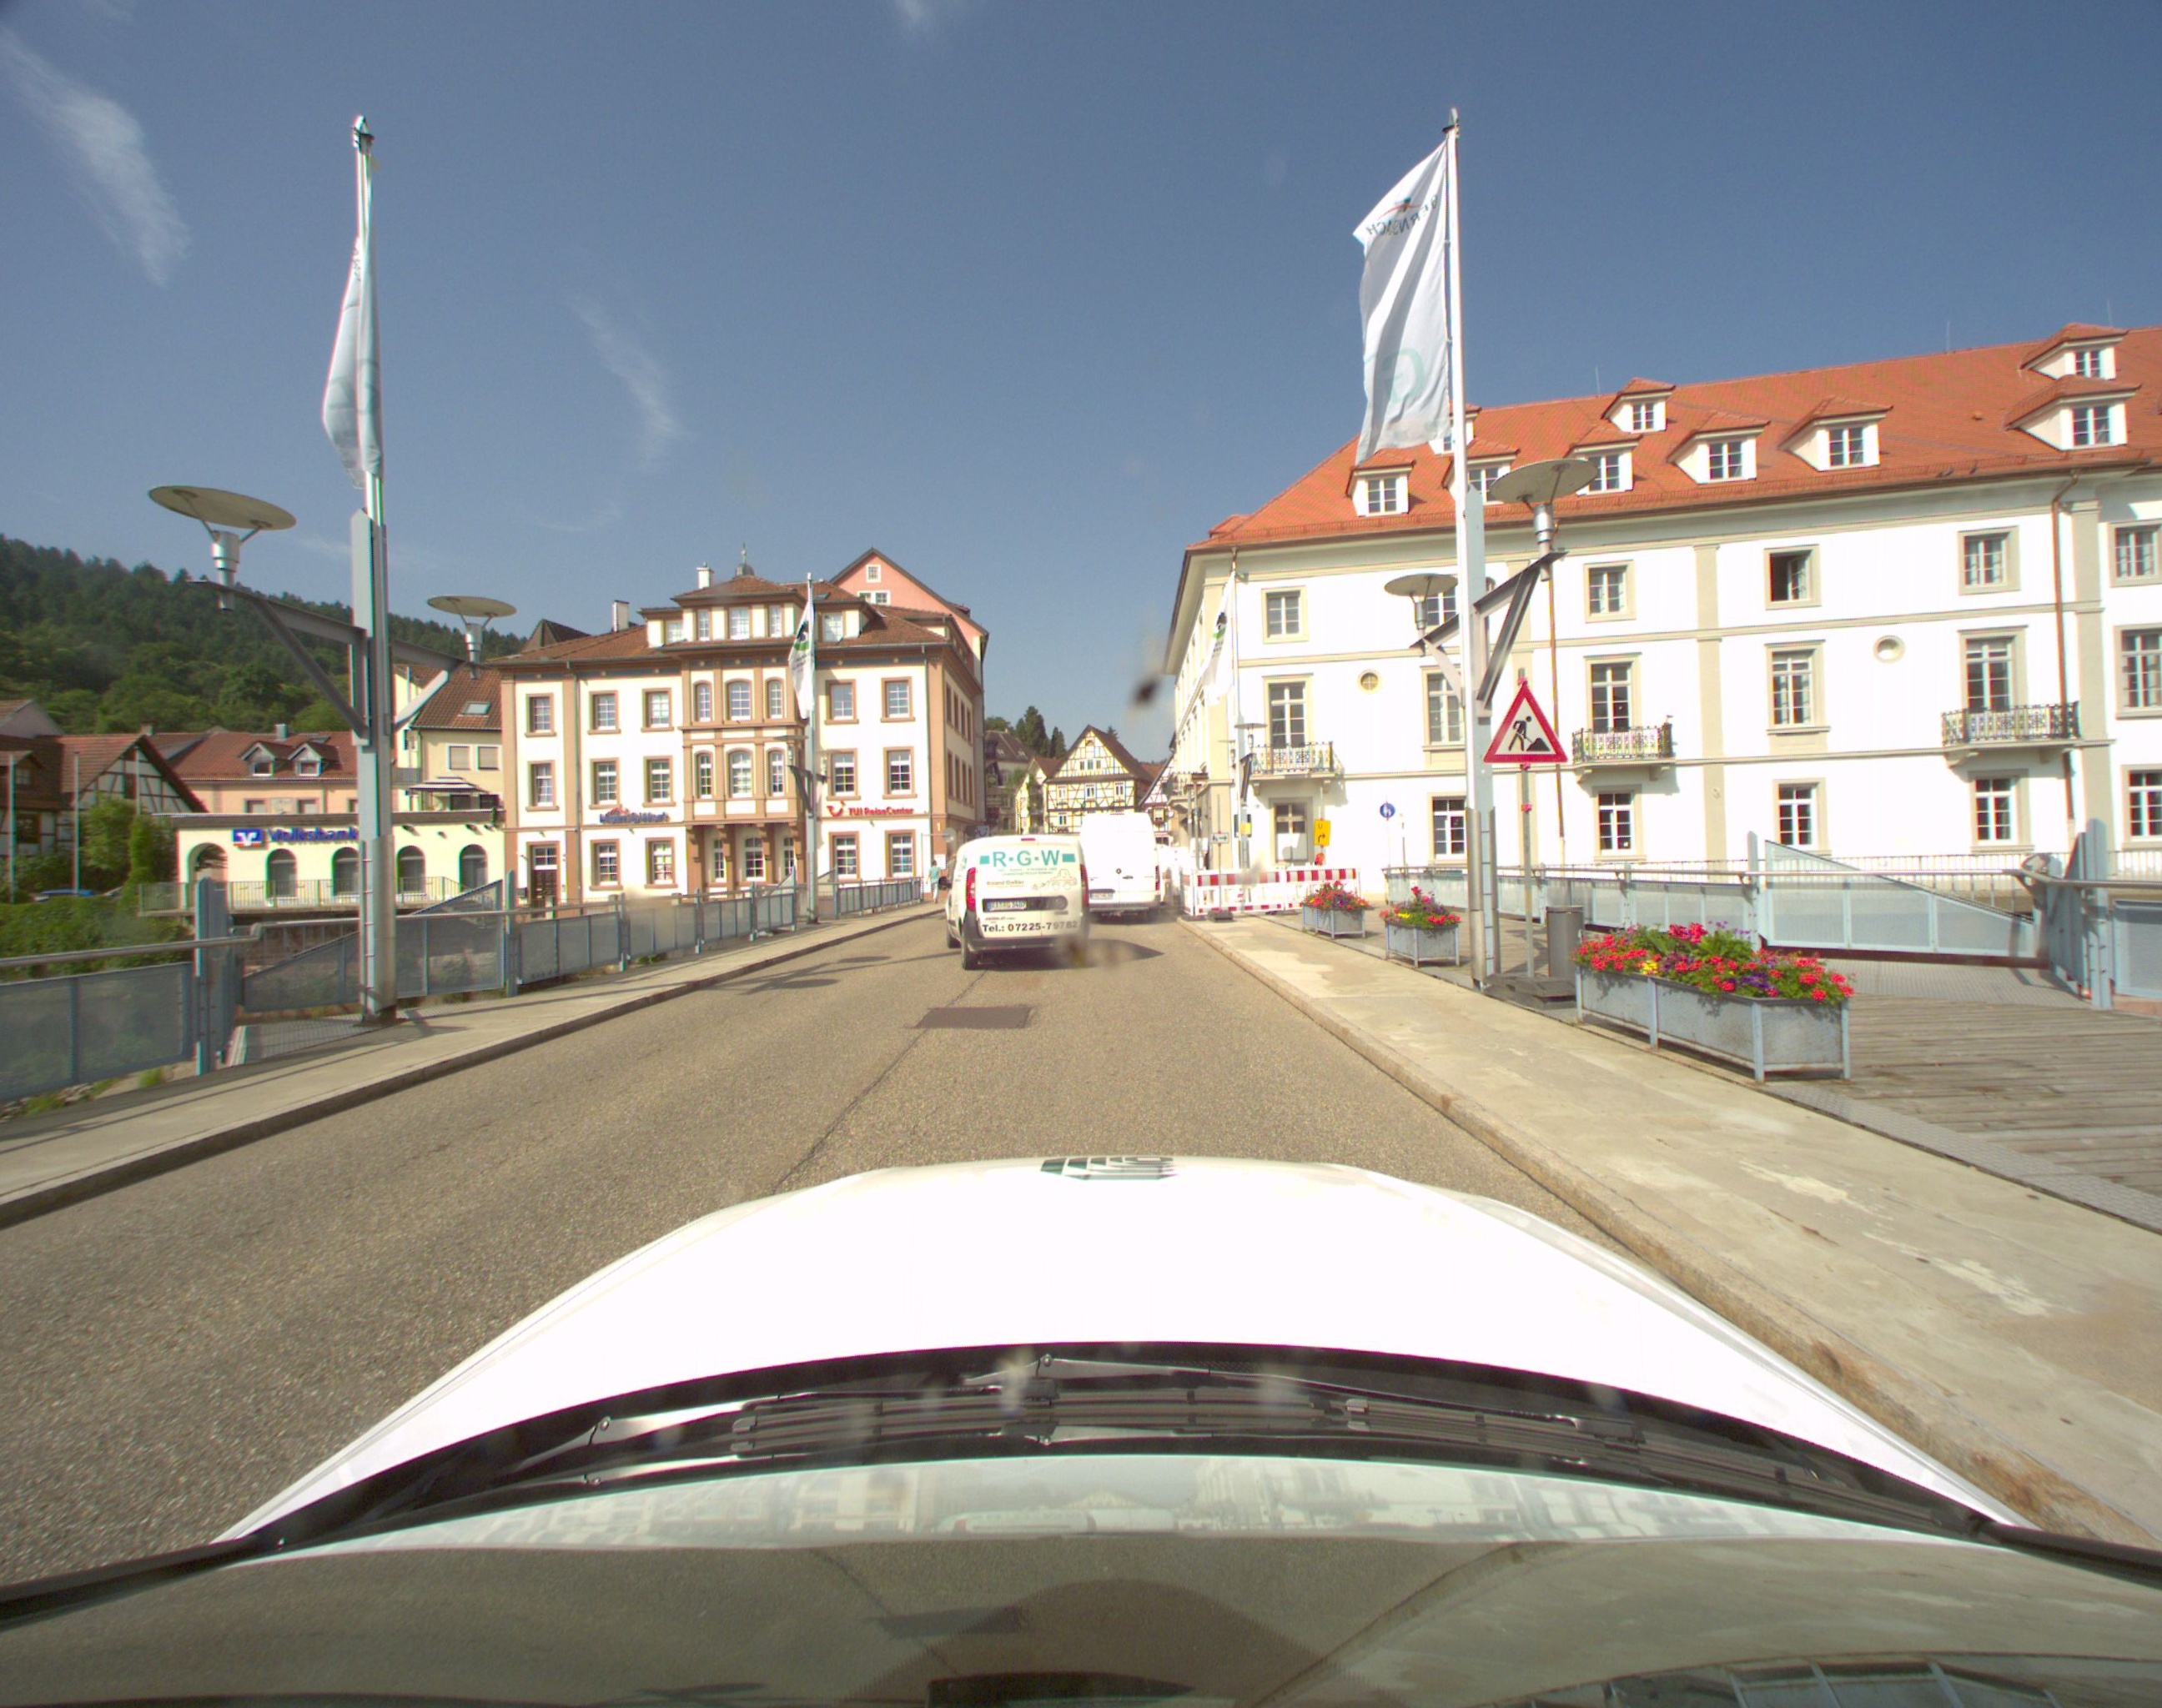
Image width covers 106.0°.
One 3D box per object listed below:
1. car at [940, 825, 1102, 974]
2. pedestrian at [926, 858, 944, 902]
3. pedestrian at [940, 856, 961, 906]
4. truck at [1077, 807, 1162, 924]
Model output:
[{"bbox_3d":[-1.129,0.592,12.795,1.847,1.906,4.294,-1,0,-14],"label":"car"},{"bbox_3d":[-5.399,0.950,30.148,0.582,1.609,0.537,-1,0,-2],"label":"pedestrian"},{"bbox_3d":[-4.774,0.978,29.898,0.613,1.762,0.863,-1,0,-1],"label":"pedestrian"},{"bbox_3d":[0.871,0.261,20.410,1.855,2.585,4.260,-1,0,0],"label":"truck"}]
